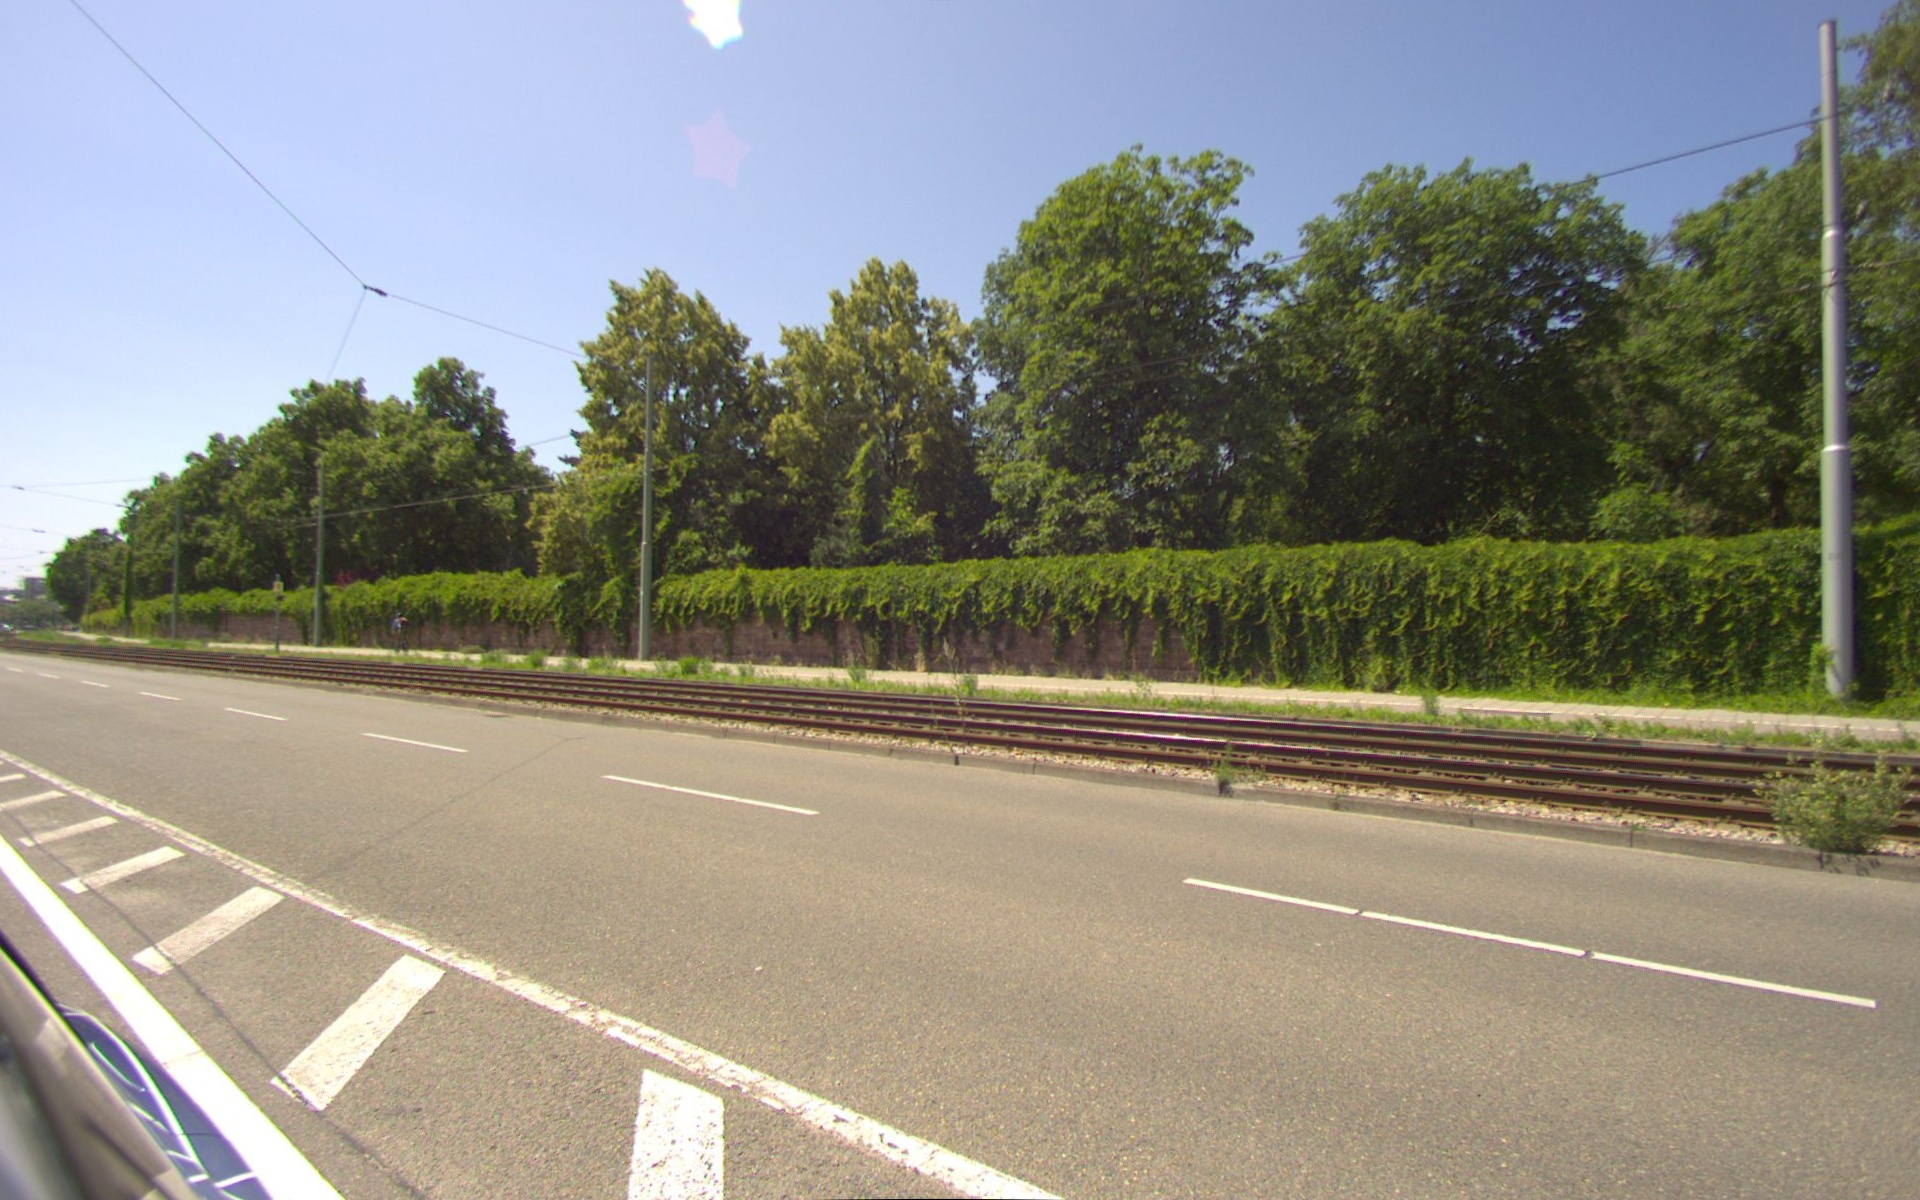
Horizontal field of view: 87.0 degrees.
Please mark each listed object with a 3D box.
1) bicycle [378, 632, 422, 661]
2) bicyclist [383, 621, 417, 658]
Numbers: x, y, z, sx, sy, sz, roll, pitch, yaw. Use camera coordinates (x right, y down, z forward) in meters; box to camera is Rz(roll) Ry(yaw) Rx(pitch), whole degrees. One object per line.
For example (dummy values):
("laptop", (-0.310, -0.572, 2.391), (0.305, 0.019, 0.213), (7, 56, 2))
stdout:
("bicycle", (-23.537, 1.932, 42.496), (2.685, 1.165, 0.819), (-2, -2, 43))
("bicyclist", (-23.505, 1.644, 42.459), (1.000, 1.497, 0.984), (-2, -2, 43))
